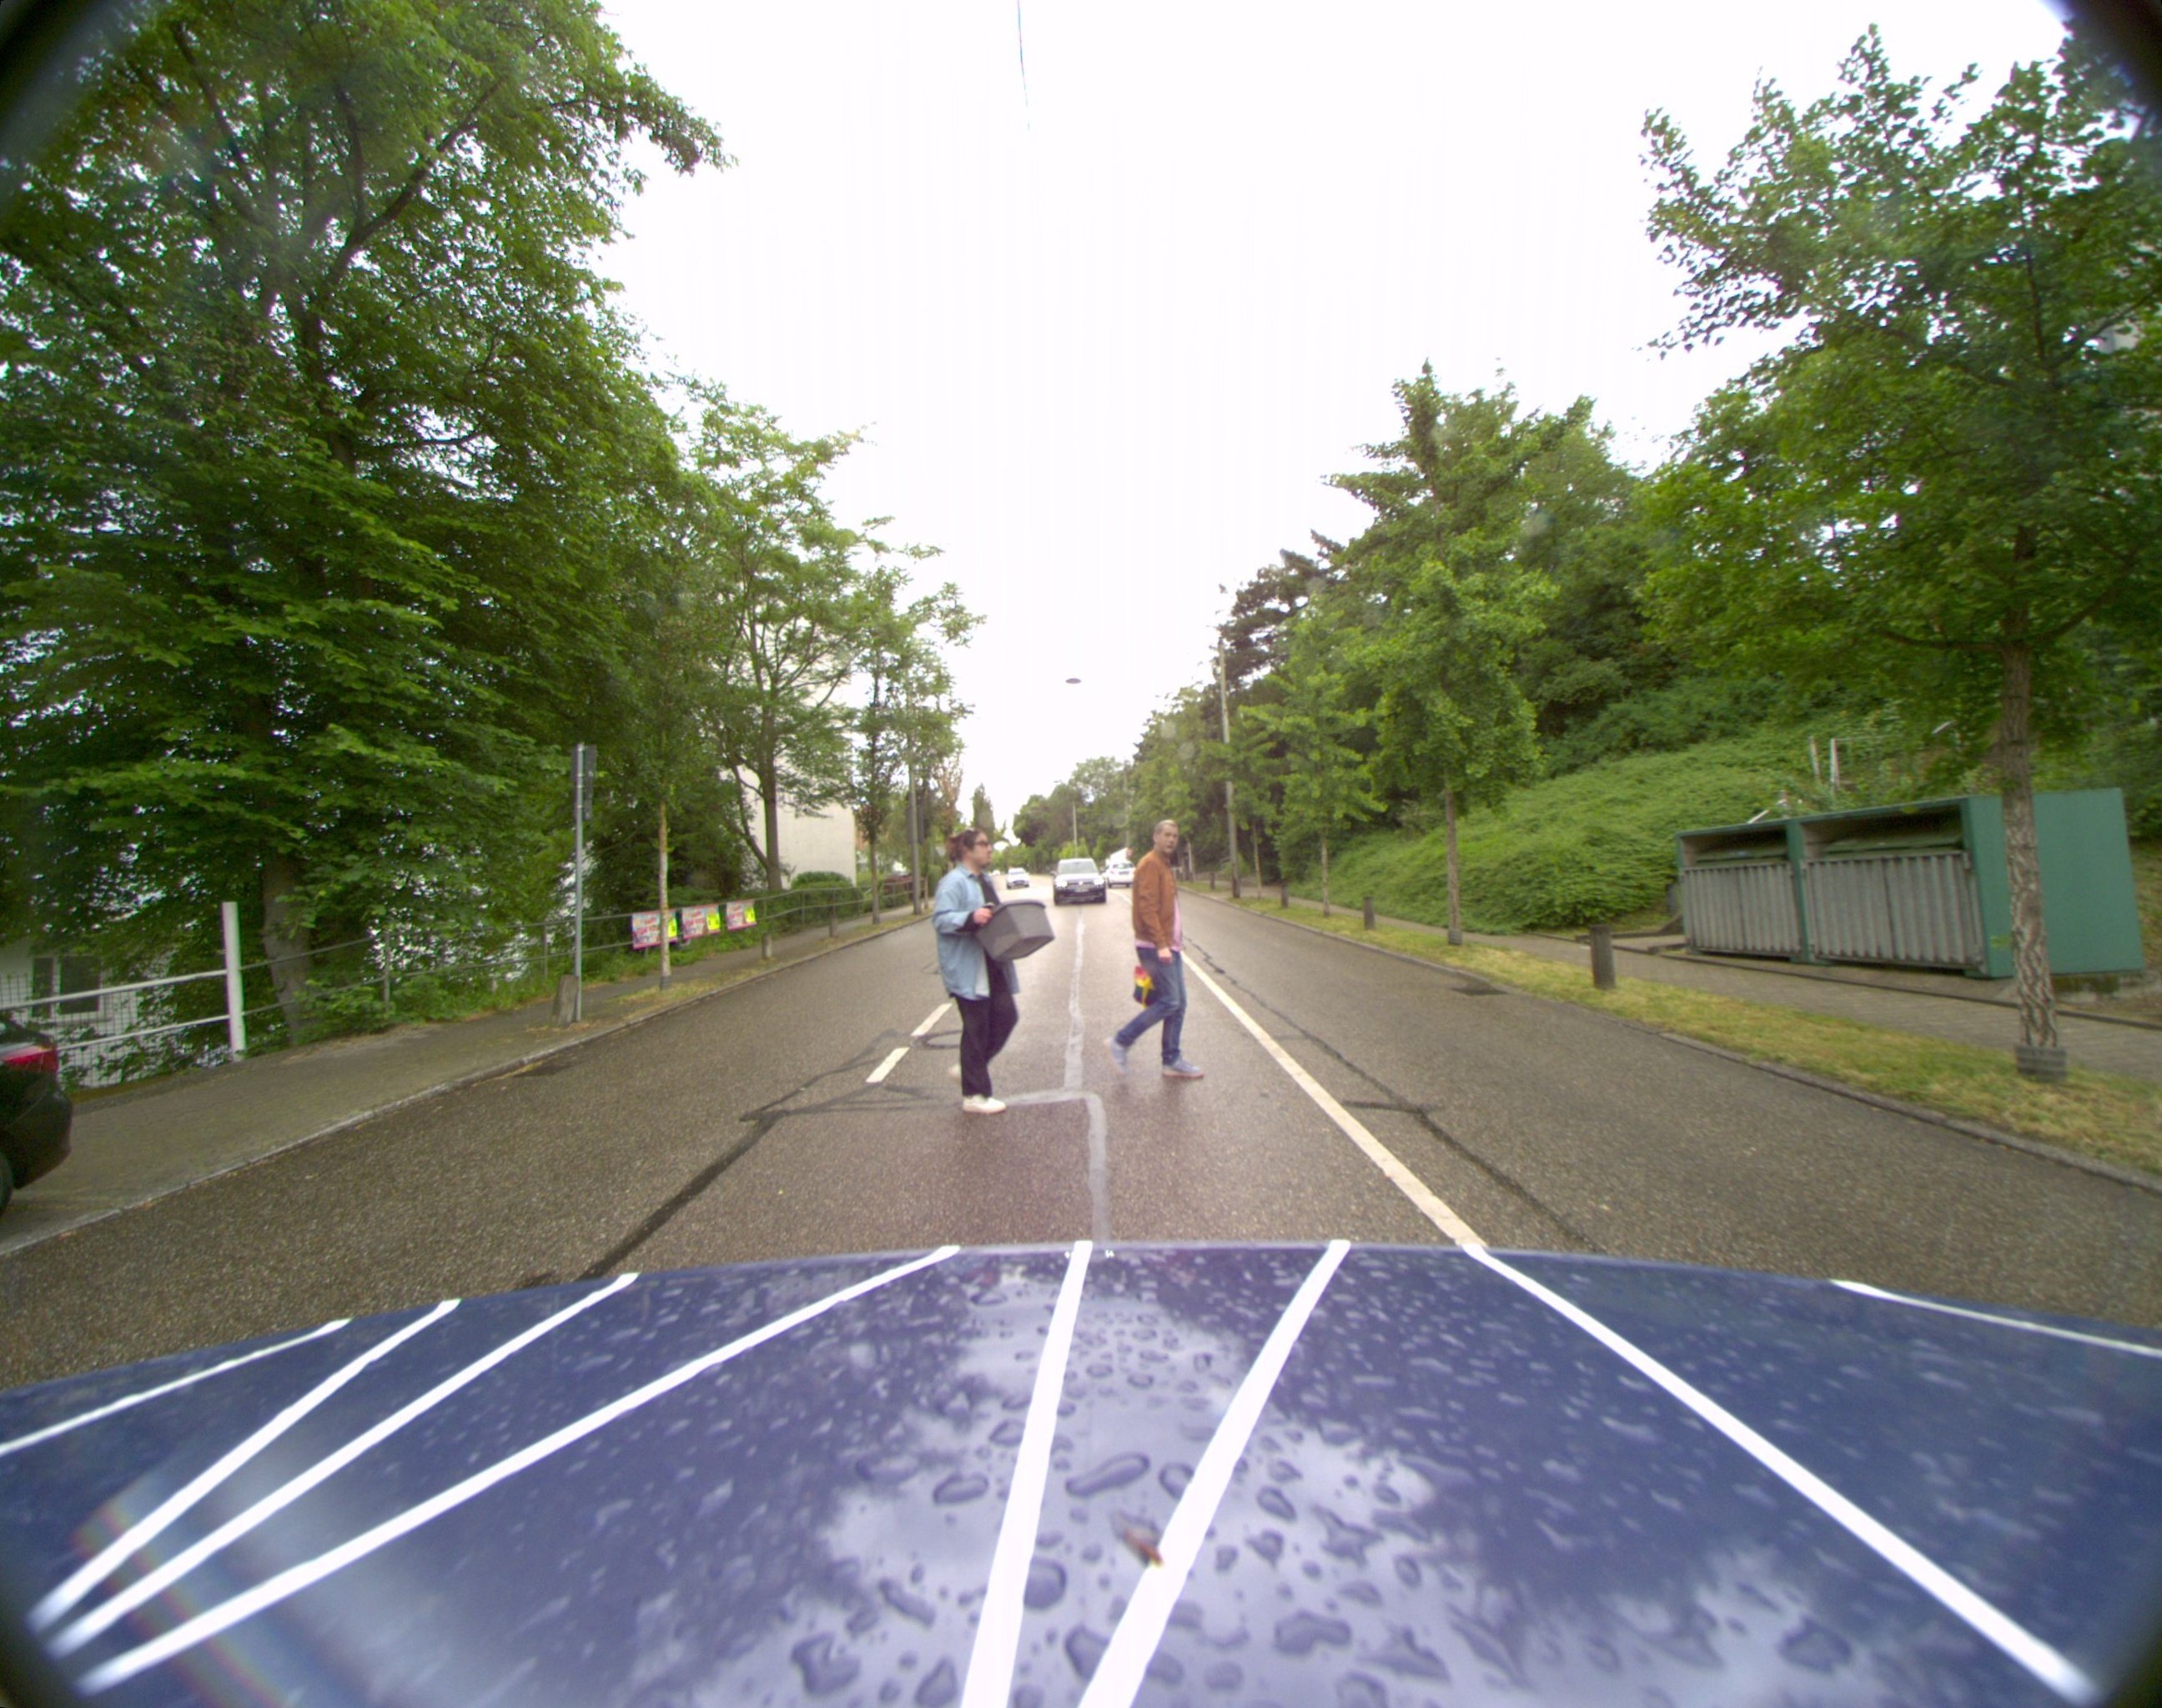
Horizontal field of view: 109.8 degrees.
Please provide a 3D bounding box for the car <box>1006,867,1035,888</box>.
[{"bbox_3d":[-5.364,2.013,66.639,1.836,1.608,4.346,-3,1,-13],"label":"car"}]

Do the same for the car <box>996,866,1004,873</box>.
[{"bbox_3d":[-20.632,3.880,193.397,1.892,1.710,4.235,-1,1,-4],"label":"car"}]

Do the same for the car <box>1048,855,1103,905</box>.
[{"bbox_3d":[-0.157,0.910,28.516,1.834,1.608,4.292,-3,1,1],"label":"car"}]

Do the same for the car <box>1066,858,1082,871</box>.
[{"bbox_3d":[-0.767,1.148,85.222,1.782,1.440,4.000,0,0,0],"label":"car"}]

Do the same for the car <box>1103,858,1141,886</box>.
[{"bbox_3d":[2.325,0.993,43.844,1.714,1.522,3.840,0,0,-3],"label":"car"}]

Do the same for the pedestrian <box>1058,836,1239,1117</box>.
[{"bbox_3d":[0.502,0.774,5.323,1.071,1.772,0.825,-1,1,18],"label":"pedestrian"}]

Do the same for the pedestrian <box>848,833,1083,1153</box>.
[{"bbox_3d":[-0.681,0.797,4.744,1.071,1.772,0.825,-4,1,17],"label":"pedestrian"}]

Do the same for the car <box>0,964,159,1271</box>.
[{"bbox_3d":[-6.345,1.394,2.161,1.999,1.426,4.442,-3,0,-1],"label":"car"}]
